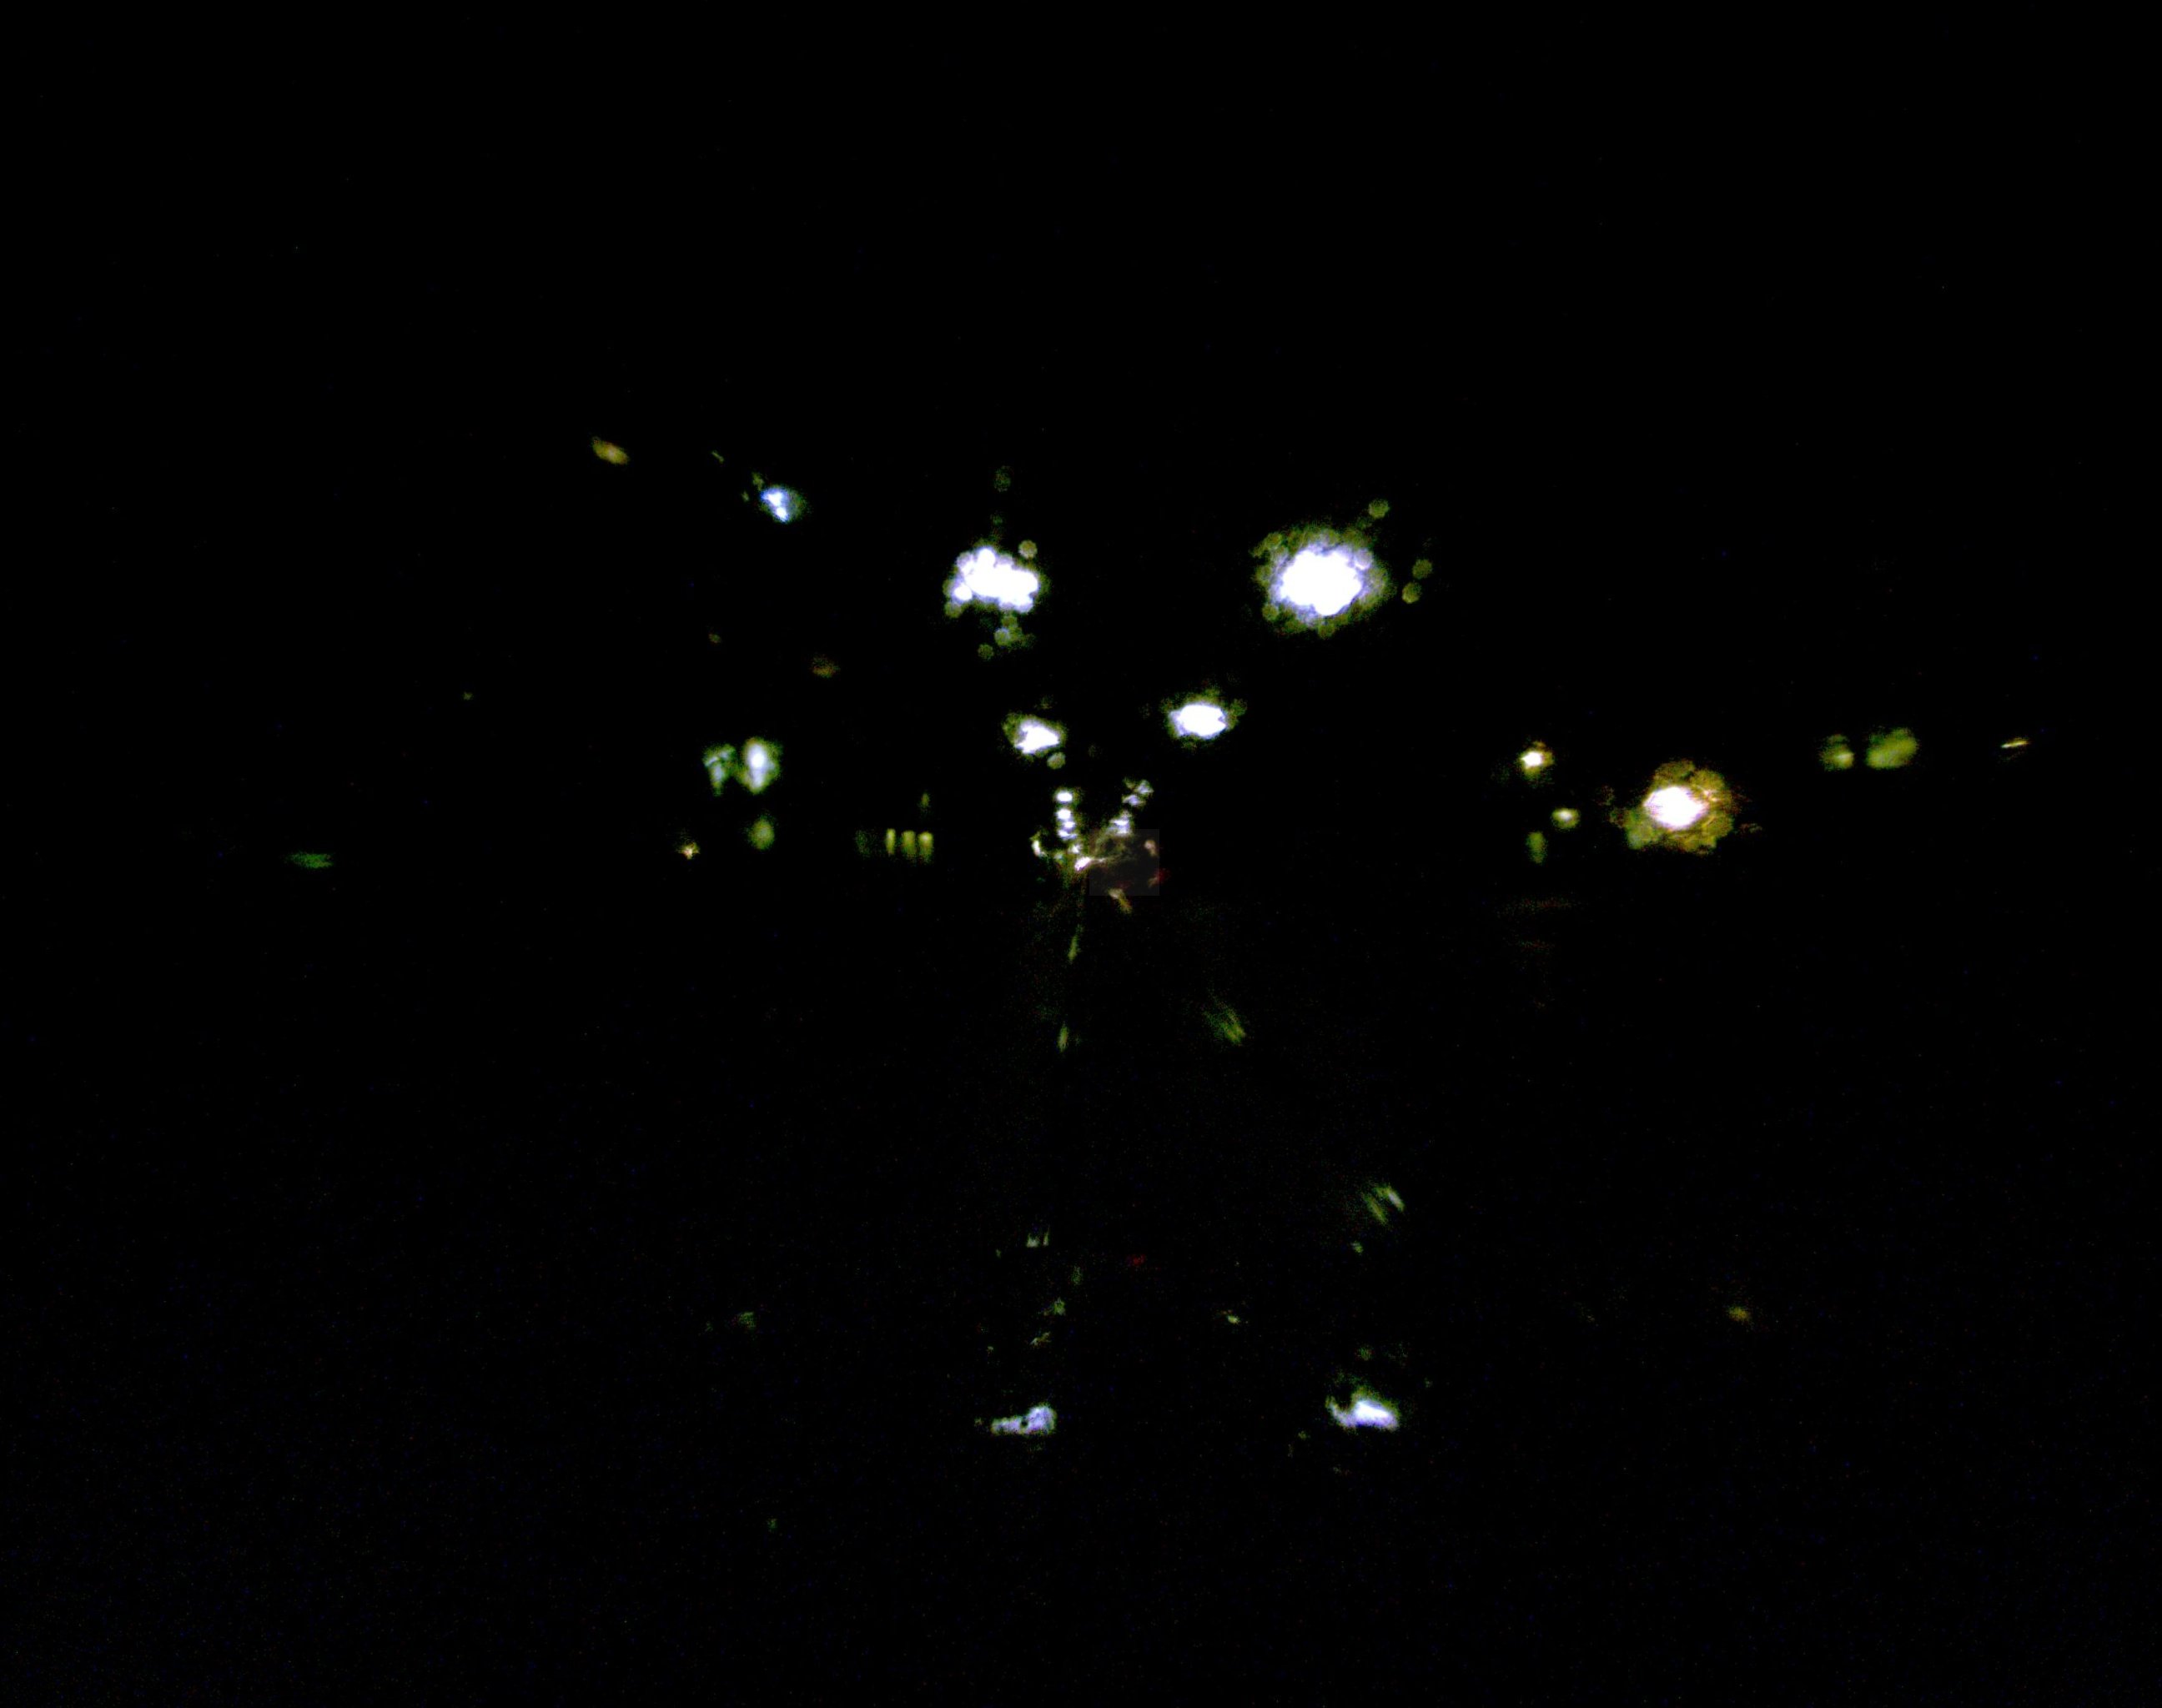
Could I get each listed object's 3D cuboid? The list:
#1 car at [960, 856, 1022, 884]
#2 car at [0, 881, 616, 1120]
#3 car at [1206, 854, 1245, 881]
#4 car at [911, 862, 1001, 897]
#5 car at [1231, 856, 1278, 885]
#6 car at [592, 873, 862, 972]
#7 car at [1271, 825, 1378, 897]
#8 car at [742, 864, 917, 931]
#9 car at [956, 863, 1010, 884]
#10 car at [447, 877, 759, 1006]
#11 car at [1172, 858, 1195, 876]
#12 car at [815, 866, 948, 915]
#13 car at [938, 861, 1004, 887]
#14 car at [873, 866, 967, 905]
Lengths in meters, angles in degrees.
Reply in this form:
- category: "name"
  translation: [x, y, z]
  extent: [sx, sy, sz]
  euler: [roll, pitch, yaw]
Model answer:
- category: "car"
  translation: [-6.330, 1.094, 53.404]
  extent: [3.965, 1.760, 1.666]
  euler: [-2, 1, -37]
- category: "car"
  translation: [-7.062, 1.126, 7.447]
  extent: [1.707, 1.503, 3.914]
  euler: [-1, 1, 44]
- category: "car"
  translation: [9.651, 0.866, 51.008]
  extent: [1.846, 1.572, 3.663]
  euler: [-4, 0, -1]
- category: "car"
  translation: [-6.180, 1.240, 37.732]
  extent: [4.021, 1.519, 1.796]
  euler: [-2, 1, -42]
- category: "car"
  translation: [9.648, 0.901, 42.462]
  extent: [1.720, 1.399, 3.389]
  euler: [-4, 0, -1]
- category: "car"
  translation: [-6.564, 1.162, 14.372]
  extent: [4.264, 1.409, 1.780]
  euler: [-2, 1, -41]
- category: "car"
  translation: [9.519, 0.246, 30.228]
  extent: [2.248, 2.494, 5.259]
  euler: [-4, 1, -2]
- category: "car"
  translation: [-6.727, 1.132, 20.681]
  extent: [1.658, 1.473, 4.194]
  euler: [-4, -1, 42]
- category: "car"
  translation: [-6.073, 1.198, 47.254]
  extent: [1.503, 1.216, 2.950]
  euler: [-1, 1, 43]
- category: "car"
  translation: [-6.744, 1.113, 10.943]
  extent: [3.579, 1.463, 1.649]
  euler: [0, 0, -37]
- category: "car"
  translation: [9.700, 1.237, 72.208]
  extent: [1.693, 1.565, 3.918]
  euler: [-2, 0, 1]
- category: "car"
  translation: [-6.979, 1.242, 26.818]
  extent: [4.170, 1.436, 1.651]
  euler: [-3, 0, -42]
- category: "car"
  translation: [-7.248, 1.275, 50.193]
  extent: [3.963, 1.499, 1.617]
  euler: [-2, 1, -26]
- category: "car"
  translation: [-7.060, 1.353, 33.562]
  extent: [1.712, 1.519, 3.675]
  euler: [-1, 1, 45]
